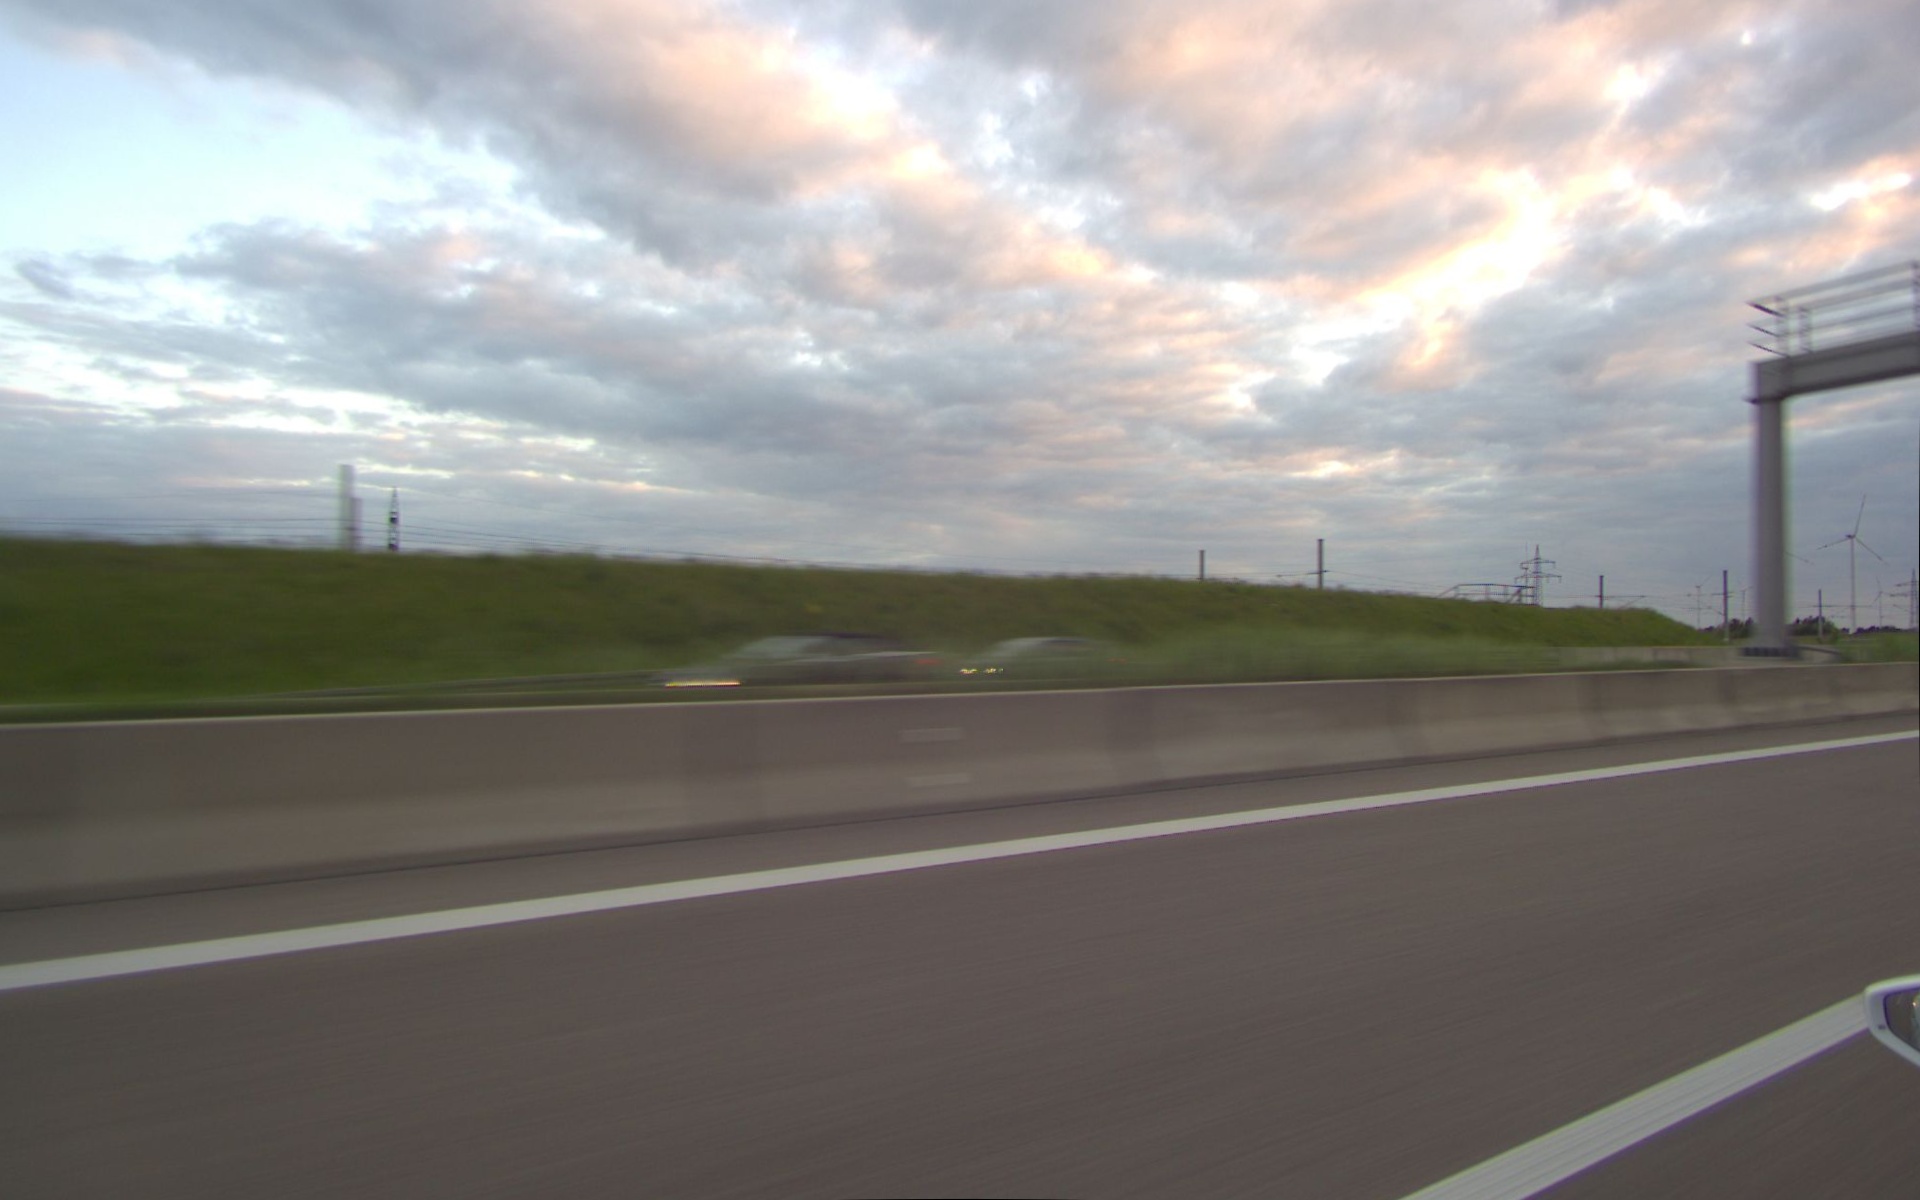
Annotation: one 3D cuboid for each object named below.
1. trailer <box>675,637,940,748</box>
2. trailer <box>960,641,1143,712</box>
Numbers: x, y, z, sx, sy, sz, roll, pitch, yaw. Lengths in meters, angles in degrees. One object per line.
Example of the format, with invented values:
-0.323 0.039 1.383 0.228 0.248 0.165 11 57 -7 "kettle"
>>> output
-2.423 1.407 16.179 3.883 1.572 1.677 2 -2 -30 "trailer"
2.125 1.698 23.047 3.953 1.483 1.710 2 -2 -30 "trailer"
